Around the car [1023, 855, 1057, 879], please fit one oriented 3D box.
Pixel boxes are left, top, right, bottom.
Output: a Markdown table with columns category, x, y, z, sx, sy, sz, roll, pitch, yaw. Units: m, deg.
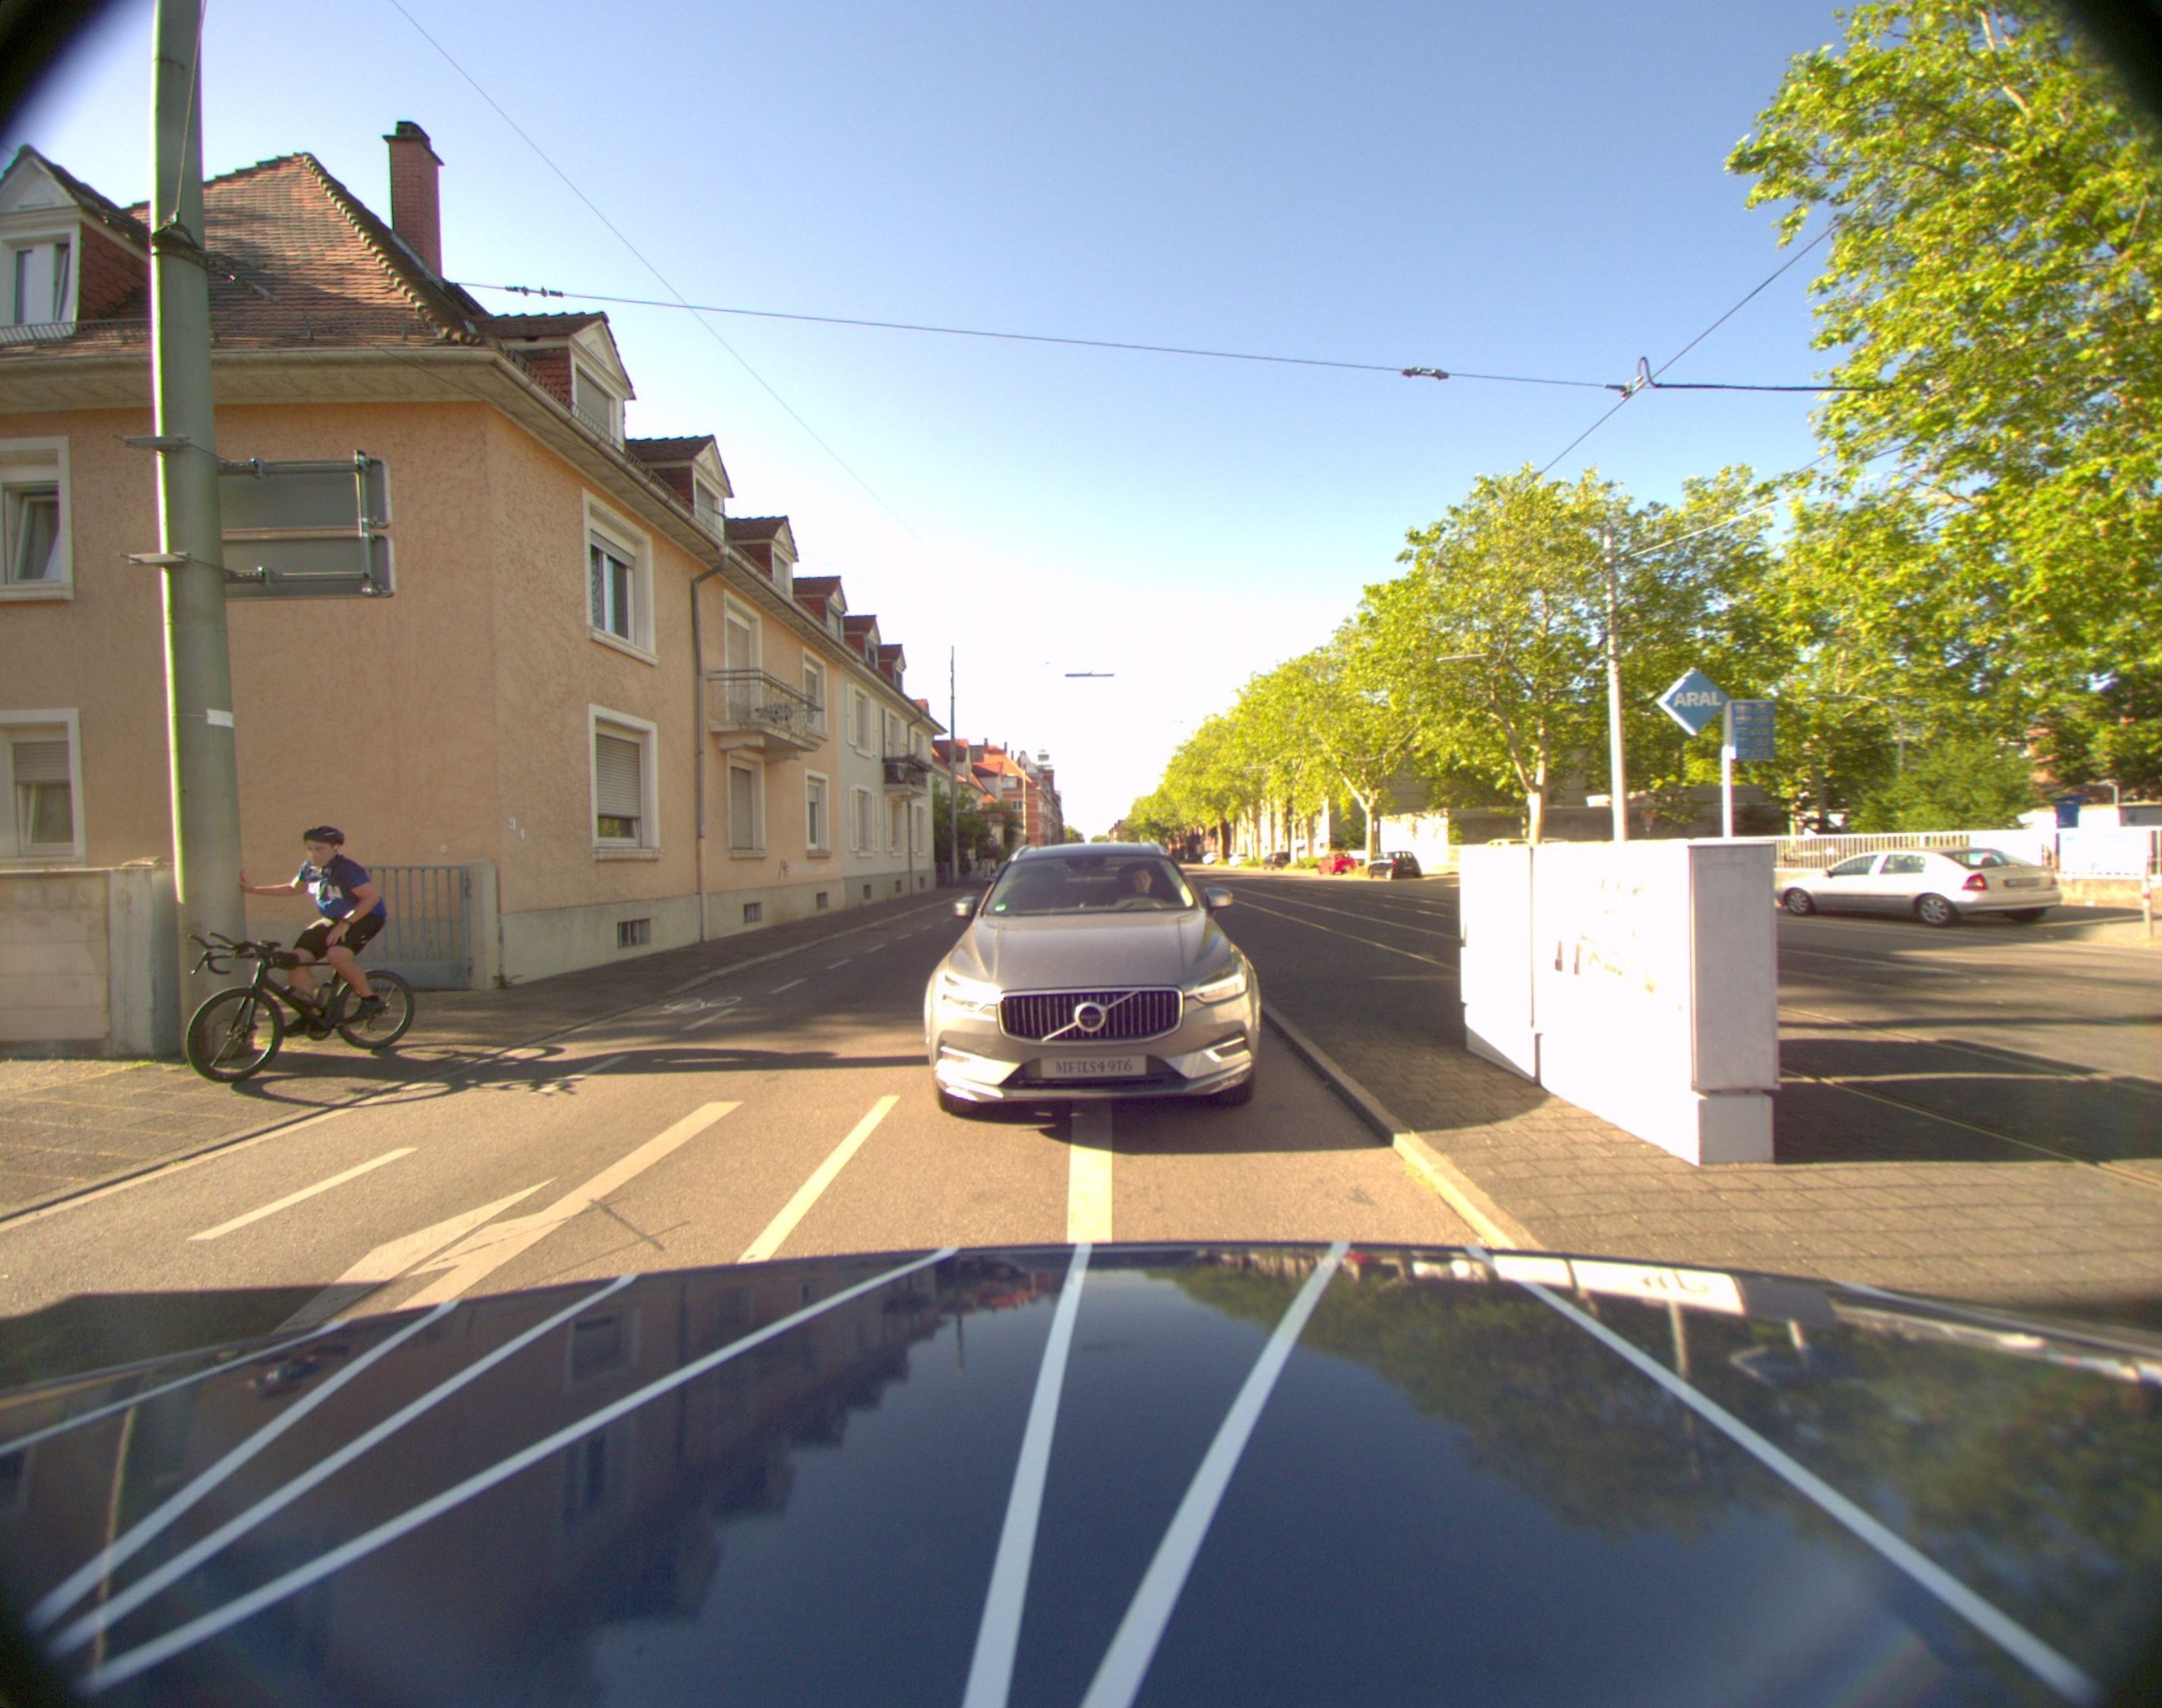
| category | x | y | z | sx | sy | sz | roll | pitch | yaw |
| --- | --- | --- | --- | --- | --- | --- | --- | --- | --- |
| car | -2.577 | 0.805 | 48.505 | 1.867 | 1.399 | 4.078 | -1 | 0 | 1 |

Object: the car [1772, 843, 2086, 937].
| category | x | y | z | sx | sy | sz | roll | pitch | yaw |
| --- | --- | --- | --- | --- | --- | --- | --- | --- | --- |
| car | 16.239 | 0.604 | 14.914 | 1.847 | 1.477 | 3.858 | -4 | 0 | 2 |

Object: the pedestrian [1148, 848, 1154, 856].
| category | x | y | z | sx | sy | sz | roll | pitch | yaw |
| --- | --- | --- | --- | --- | --- | --- | --- | --- | --- |
| pedestrian | 19.598 | -0.566 | 213.143 | 1.686 | 2.002 | 1.761 | -1 | 1 | 1 |

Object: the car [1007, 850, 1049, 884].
| category | x | y | z | sx | sy | sz | roll | pitch | yaw |
| --- | --- | --- | --- | --- | --- | --- | --- | --- | --- |
| car | -2.912 | 0.693 | 42.838 | 1.867 | 1.778 | 5.297 | -1 | 0 | 1 |

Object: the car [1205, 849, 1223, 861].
| category | x | y | z | sx | sy | sz | roll | pitch | yaw |
| --- | --- | --- | --- | --- | --- | --- | --- | --- | --- |
| car | 17.674 | 0.152 | 100.943 | 1.758 | 1.475 | 3.858 | -3 | 0 | 3 |

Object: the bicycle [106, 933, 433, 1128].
| category | x | y | z | sx | sy | sz | roll | pitch | yaw |
| --- | --- | --- | --- | --- | --- | --- | --- | --- | --- |
| bicycle | -6.131 | 1.261 | 5.918 | 0.550 | 1.056 | 1.794 | 4 | 0 | 1 |

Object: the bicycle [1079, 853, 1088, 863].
| category | x | y | z | sx | sy | sz | roll | pitch | yaw |
| --- | --- | --- | --- | --- | --- | --- | --- | --- | --- |
| bicycle | 0.337 | 0.573 | 102.299 | 1.054 | 1.262 | 3.914 | -1 | 0 | 1 |

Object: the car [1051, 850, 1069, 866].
| category | x | y | z | sx | sy | sz | roll | pitch | yaw |
| --- | --- | --- | --- | --- | --- | --- | --- | --- | --- |
| car | -2.323 | 0.420 | 85.457 | 1.867 | 1.653 | 4.078 | -1 | 0 | 1 |

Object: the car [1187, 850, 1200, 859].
| category | x | y | z | sx | sy | sz | roll | pitch | yaw |
| --- | --- | --- | --- | --- | --- | --- | --- | --- | --- |
| car | 18.510 | 0.044 | 125.300 | 1.758 | 1.475 | 3.858 | -3 | 0 | 3 |

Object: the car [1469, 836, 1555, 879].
| category | x | y | z | sx | sy | sz | roll | pitch | yaw |
| --- | --- | --- | --- | --- | --- | --- | --- | --- | --- |
| car | 21.812 | 0.163 | 38.647 | 1.999 | 2.002 | 3.999 | -1 | 0 | -1 |

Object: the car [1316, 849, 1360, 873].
| category | x | y | z | sx | sy | sz | roll | pitch | yaw |
| --- | --- | --- | --- | --- | --- | --- | --- | --- | --- |
| car | 16.905 | 0.444 | 50.191 | 1.717 | 1.421 | 3.858 | -3 | 0 | 3 |

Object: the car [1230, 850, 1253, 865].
| category | x | y | z | sx | sy | sz | roll | pitch | yaw |
| --- | --- | --- | --- | --- | --- | --- | --- | --- | --- |
| car | 17.580 | 0.346 | 83.350 | 1.758 | 1.475 | 3.858 | -3 | 0 | 3 |

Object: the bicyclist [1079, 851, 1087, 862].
| category | x | y | z | sx | sy | sz | roll | pitch | yaw |
| --- | --- | --- | --- | --- | --- | --- | --- | --- | --- |
| bicyclist | 0.322 | 0.290 | 102.308 | 1.054 | 1.496 | 1.250 | -1 | 1 | 1 |

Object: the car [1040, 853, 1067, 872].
| category | x | y | z | sx | sy | sz | roll | pitch | yaw |
| --- | --- | --- | --- | --- | --- | --- | --- | --- | --- |
| car | -2.131 | 0.657 | 60.064 | 1.867 | 1.399 | 4.078 | -1 | 0 | 1 |

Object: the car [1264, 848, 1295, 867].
| category | x | y | z | sx | sy | sz | roll | pitch | yaw |
| --- | --- | --- | --- | --- | --- | --- | --- | --- | --- |
| car | 17.174 | 0.285 | 65.922 | 1.758 | 1.536 | 3.858 | -3 | 0 | 3 |

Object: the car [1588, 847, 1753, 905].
| category | x | y | z | sx | sy | sz | roll | pitch | yaw |
| --- | --- | --- | --- | --- | --- | --- | --- | --- | --- |
| car | 16.479 | 0.564 | 21.521 | 1.745 | 1.389 | 3.858 | -4 | 0 | 3 |

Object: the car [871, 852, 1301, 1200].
| category | x | y | z | sx | sy | sz | roll | pitch | yaw |
| --- | --- | --- | --- | --- | --- | --- | --- | --- | --- |
| car | 0.056 | 0.811 | 5.938 | 1.998 | 1.609 | 4.697 | -1 | 0 | 1 |

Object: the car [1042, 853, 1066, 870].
| category | x | y | z | sx | sy | sz | roll | pitch | yaw |
| --- | --- | --- | --- | --- | --- | --- | --- | --- | --- |
| car | -2.352 | 0.610 | 66.368 | 1.867 | 1.399 | 4.078 | -1 | 0 | 1 |

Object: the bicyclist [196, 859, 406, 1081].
| category | x | y | z | sx | sy | sz | roll | pitch | yaw |
| --- | --- | --- | --- | --- | --- | --- | --- | --- | --- |
| bicyclist | -6.147 | 0.851 | 6.060 | 0.562 | 1.607 | 1.016 | -1 | 1 | 1 |

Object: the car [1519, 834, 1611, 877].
| category | x | y | z | sx | sy | sz | roll | pitch | yaw |
| --- | --- | --- | --- | --- | --- | --- | --- | --- | --- |
| car | 24.160 | 0.075 | 38.107 | 1.999 | 2.002 | 3.999 | -1 | 0 | -1 |

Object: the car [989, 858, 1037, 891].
| category | x | y | z | sx | sy | sz | roll | pitch | yaw |
| --- | --- | --- | --- | --- | --- | --- | --- | --- | --- |
| car | -3.235 | 0.956 | 37.083 | 1.867 | 1.399 | 4.424 | -1 | 0 | 1 |

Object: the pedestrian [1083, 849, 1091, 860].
| category | x | y | z | sx | sy | sz | roll | pitch | yaw |
| --- | --- | --- | --- | --- | --- | --- | --- | --- | --- |
| pedestrian | 1.174 | 0.110 | 147.216 | 1.457 | 2.002 | 1.193 | -1 | 1 | 0 |

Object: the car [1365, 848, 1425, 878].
| category | x | y | z | sx | sy | sz | roll | pitch | yaw |
| --- | --- | --- | --- | --- | --- | --- | --- | --- | --- |
| car | 16.893 | 0.452 | 41.049 | 1.758 | 1.449 | 3.858 | -3 | 0 | 3 |
